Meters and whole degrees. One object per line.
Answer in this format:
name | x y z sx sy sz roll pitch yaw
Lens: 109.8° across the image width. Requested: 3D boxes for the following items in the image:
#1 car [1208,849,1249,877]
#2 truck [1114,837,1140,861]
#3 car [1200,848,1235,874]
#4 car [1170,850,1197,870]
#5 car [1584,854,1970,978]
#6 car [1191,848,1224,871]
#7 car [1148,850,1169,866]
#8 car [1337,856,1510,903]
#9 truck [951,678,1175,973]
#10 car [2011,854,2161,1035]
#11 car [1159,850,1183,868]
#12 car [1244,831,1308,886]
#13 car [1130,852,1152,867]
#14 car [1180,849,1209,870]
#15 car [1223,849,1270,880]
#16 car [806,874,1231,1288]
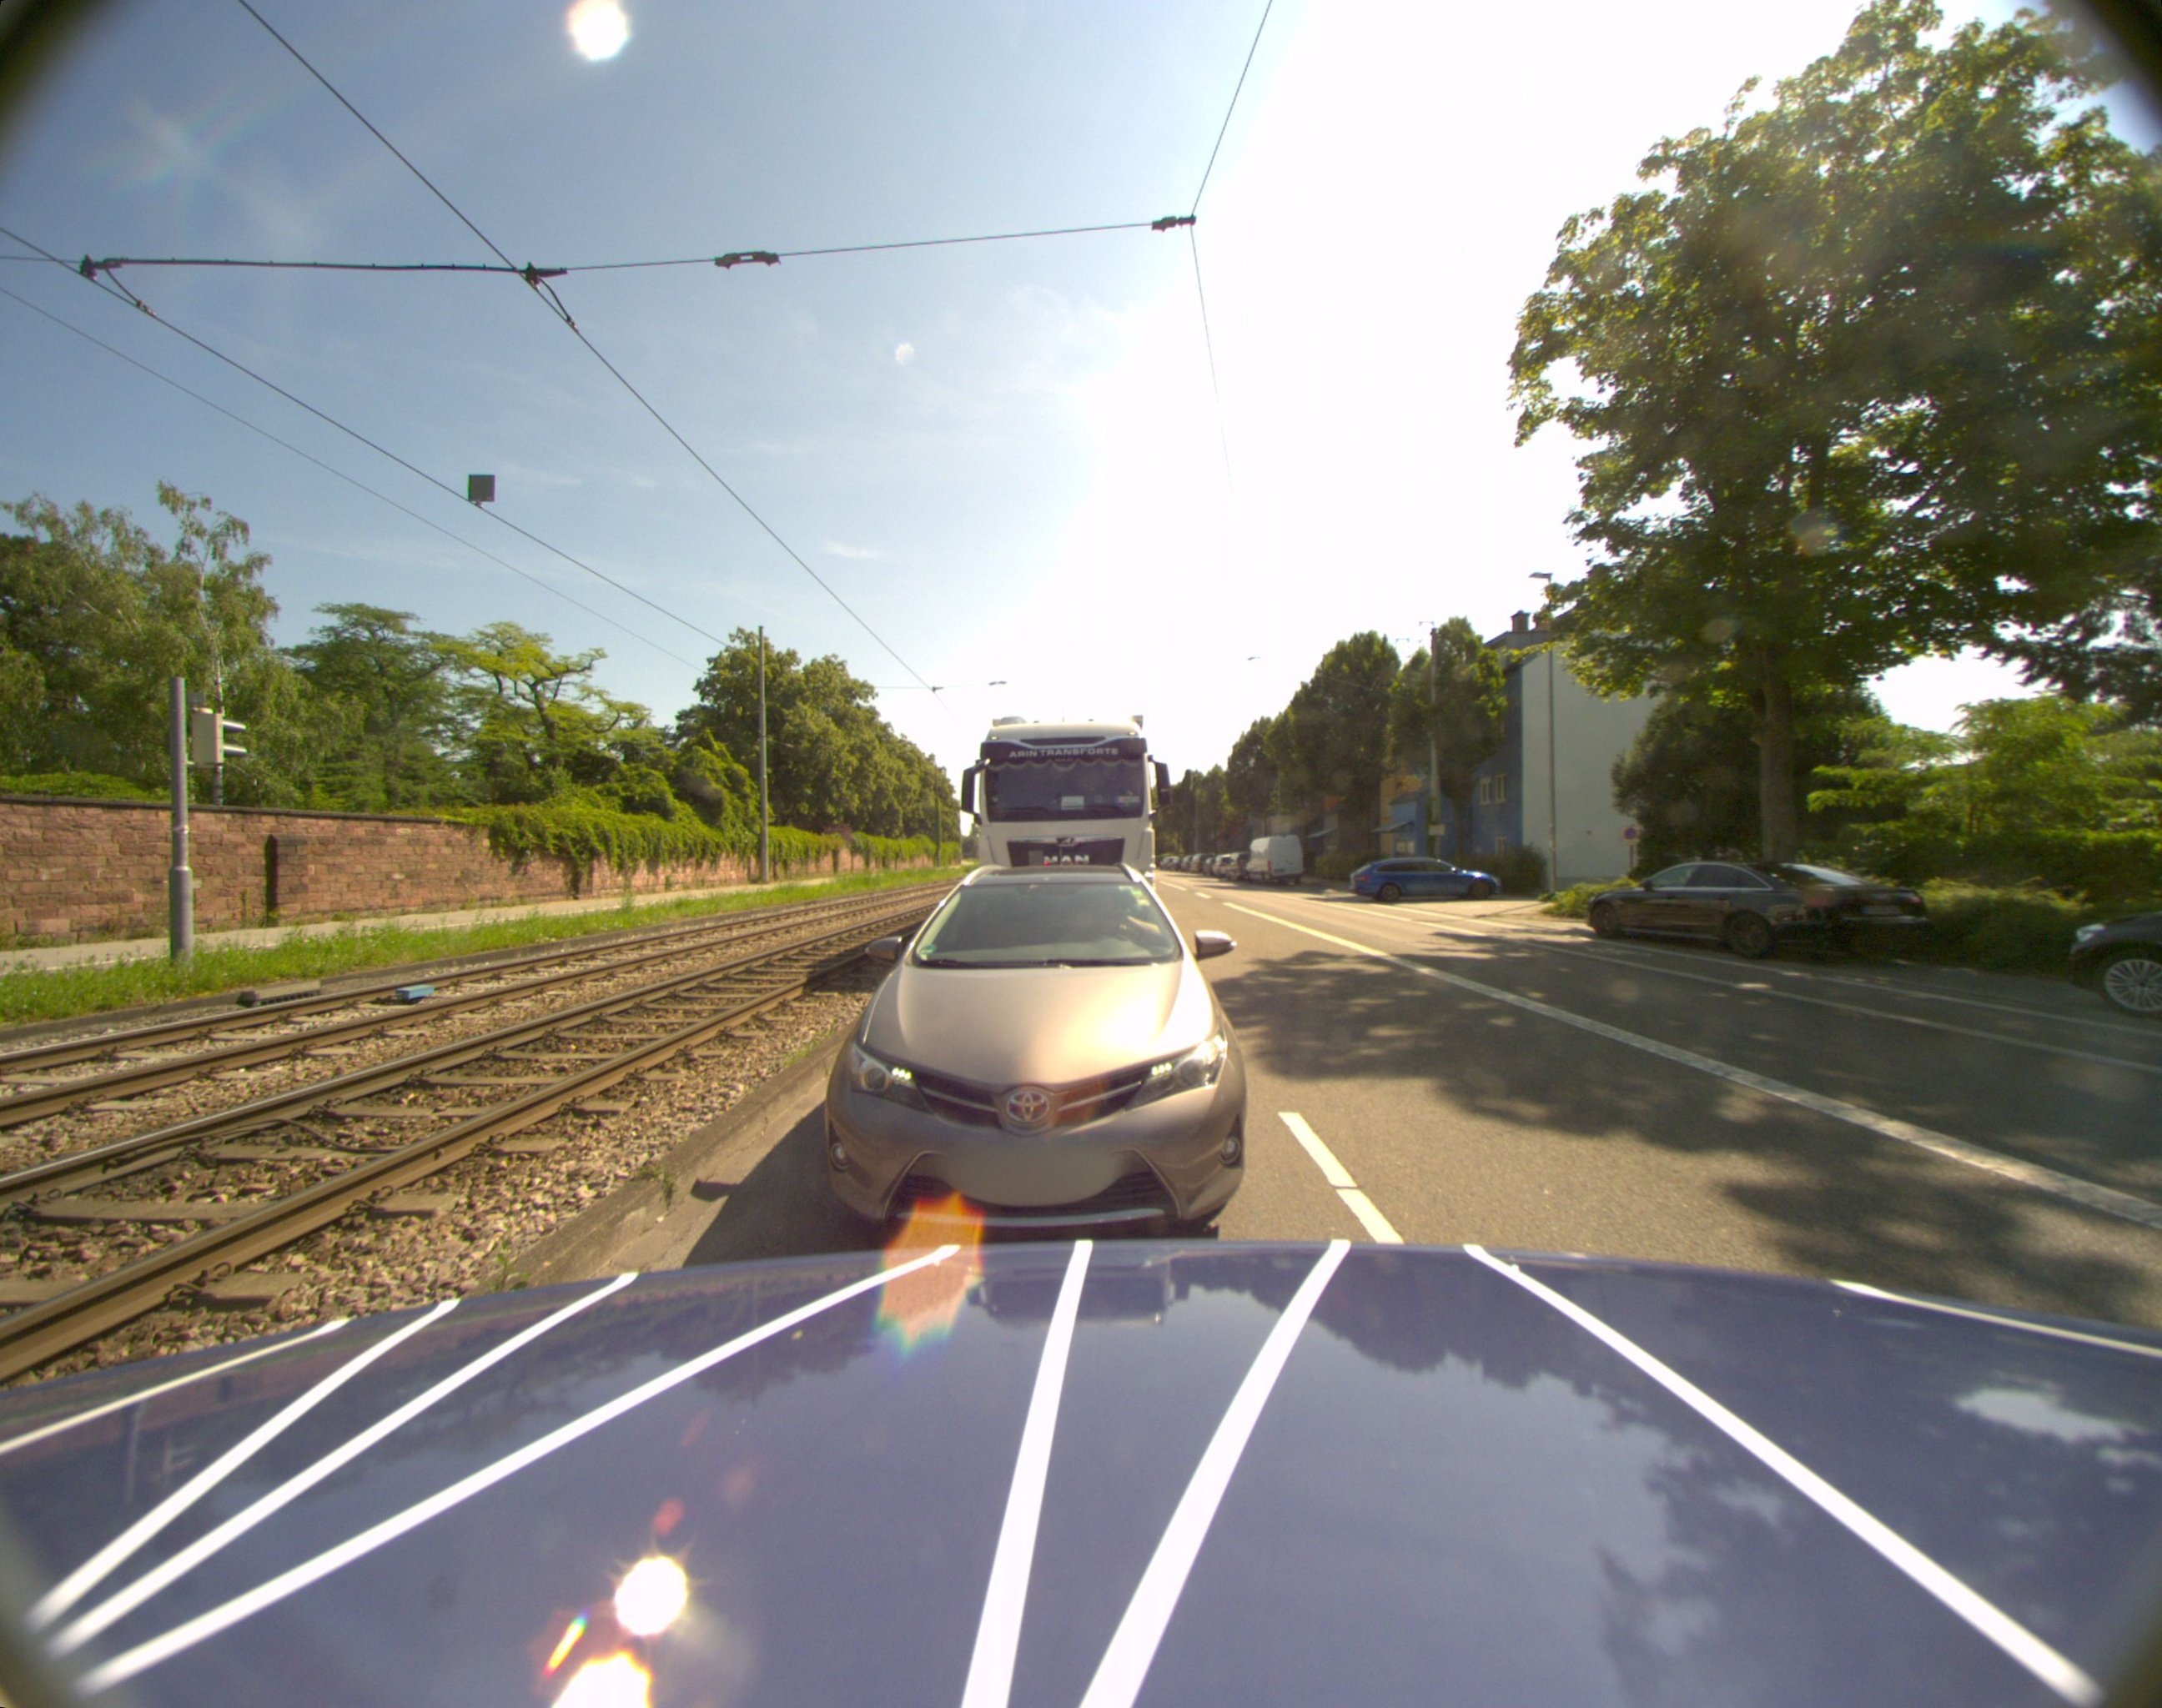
car | 11.105 0.656 57.384 1.998 1.795 4.769 -6 0 0
truck | 7.013 -0.741 116.110 2.704 3.263 6.724 -6 0 -5
car | 11.241 0.557 62.866 1.998 1.795 4.256 -6 0 0
car | 10.590 0.594 79.170 1.998 1.795 4.769 -6 0 0
car | 10.561 0.801 12.163 1.868 1.562 4.621 -1 0 -2
car | 11.199 0.455 67.677 1.998 1.795 4.769 -6 0 0
car | 9.839 0.476 96.915 1.998 1.795 4.769 -6 0 0
car | 11.575 0.847 26.001 5.067 1.422 1.892 -2 0 9
truck | -0.136 -0.392 17.400 2.935 3.856 14.912 0 0 1
car | 10.583 0.811 5.573 1.868 1.562 4.621 -2 0 0
car | 10.096 0.544 85.914 1.998 1.795 4.769 -6 0 0
car | 10.917 0.239 43.097 1.998 2.678 6.214 -6 0 2
car | 8.304 0.738 105.573 1.999 1.795 5.111 -6 0 -4
car | 10.911 0.537 73.381 1.998 1.795 4.769 -6 0 0
car | 11.121 0.669 51.360 1.998 1.795 4.769 -6 0 0
car | -0.206 0.896 4.823 1.573 1.422 4.000 0 0 1
